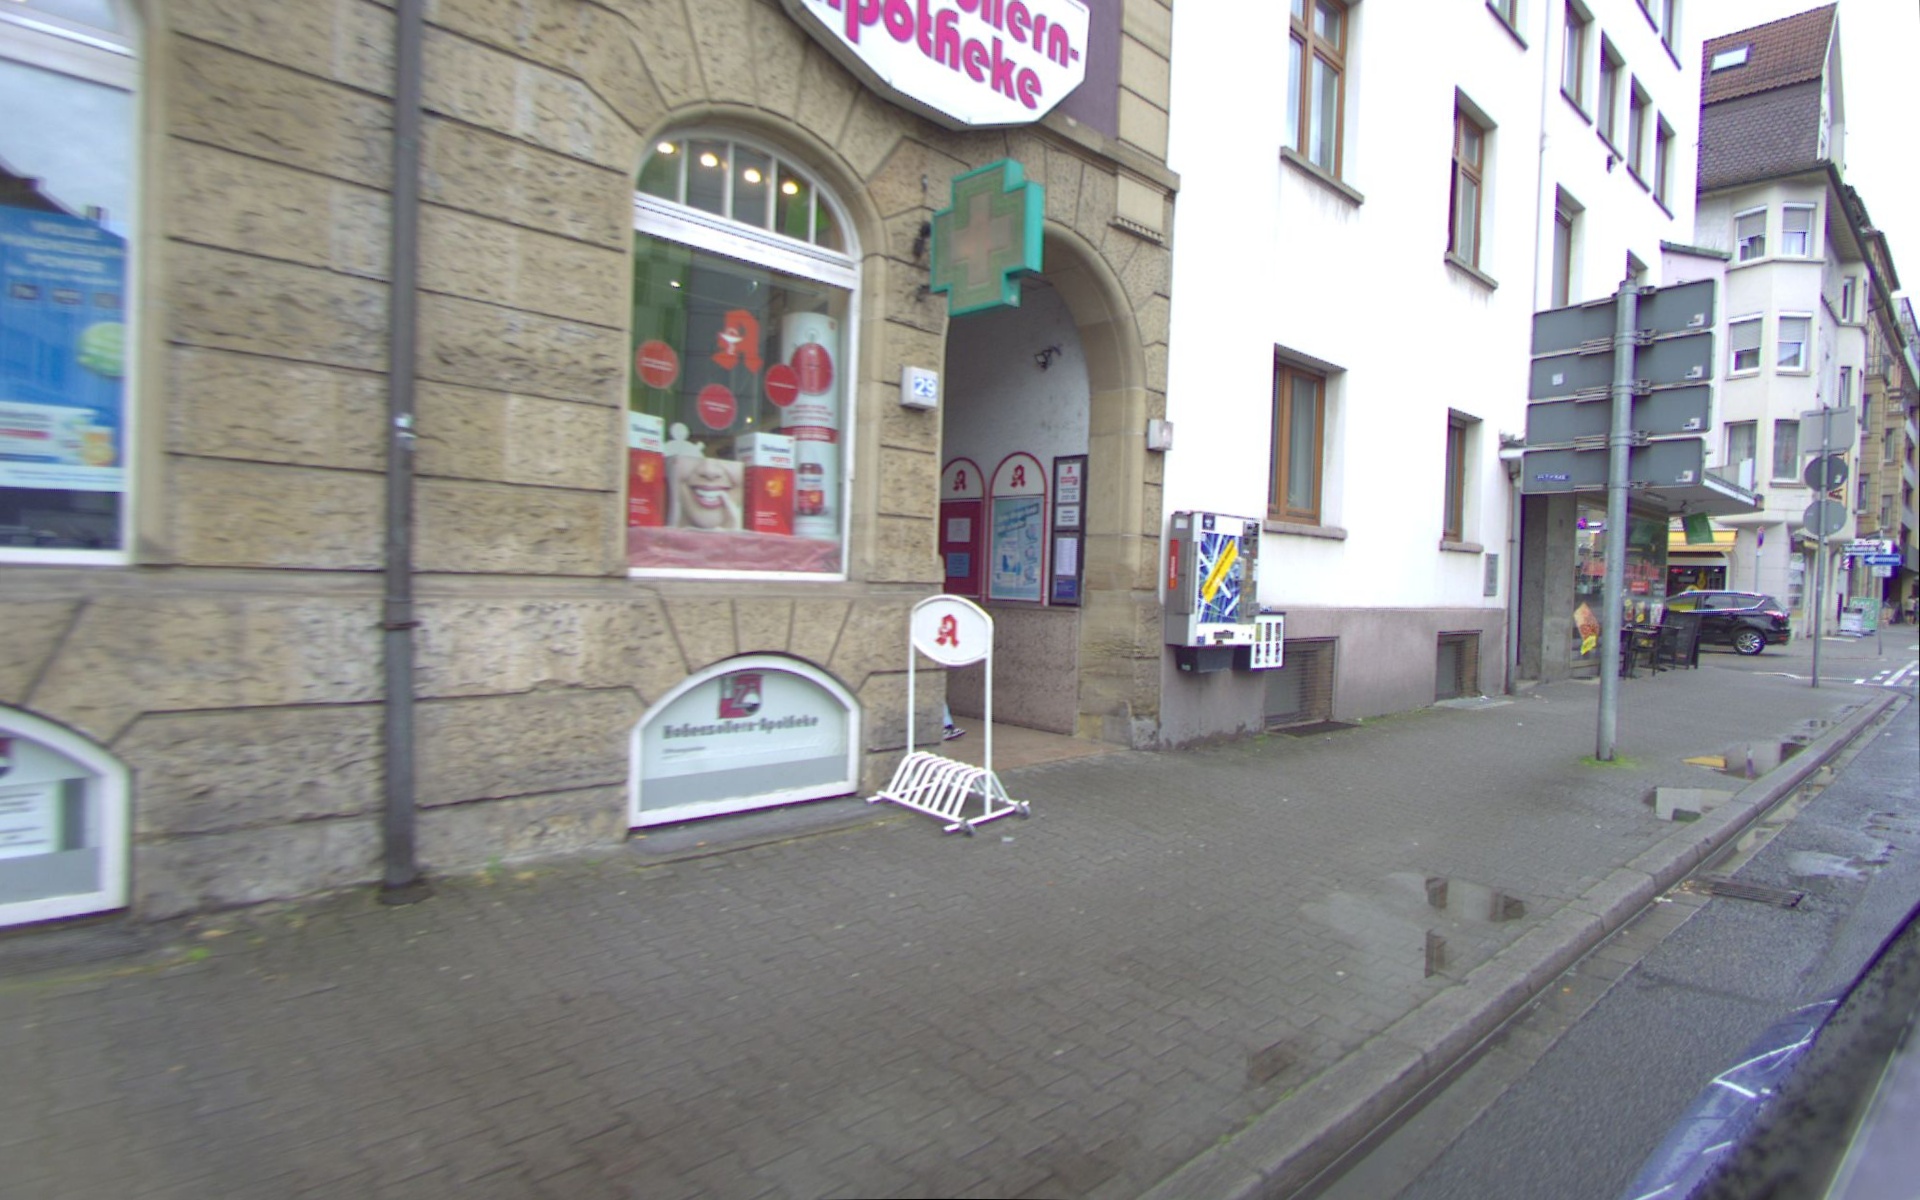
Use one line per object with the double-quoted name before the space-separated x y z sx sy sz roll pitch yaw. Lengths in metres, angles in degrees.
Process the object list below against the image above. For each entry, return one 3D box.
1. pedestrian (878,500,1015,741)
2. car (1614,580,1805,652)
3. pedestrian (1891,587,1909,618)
"pedestrian" -0.120 0.152 7.736 0.882 1.741 0.676 2 1 -11
"car" 20.780 0.385 28.189 4.130 1.794 1.848 2 1 38
"pedestrian" 49.680 0.137 53.489 0.558 1.592 0.620 2 1 30
